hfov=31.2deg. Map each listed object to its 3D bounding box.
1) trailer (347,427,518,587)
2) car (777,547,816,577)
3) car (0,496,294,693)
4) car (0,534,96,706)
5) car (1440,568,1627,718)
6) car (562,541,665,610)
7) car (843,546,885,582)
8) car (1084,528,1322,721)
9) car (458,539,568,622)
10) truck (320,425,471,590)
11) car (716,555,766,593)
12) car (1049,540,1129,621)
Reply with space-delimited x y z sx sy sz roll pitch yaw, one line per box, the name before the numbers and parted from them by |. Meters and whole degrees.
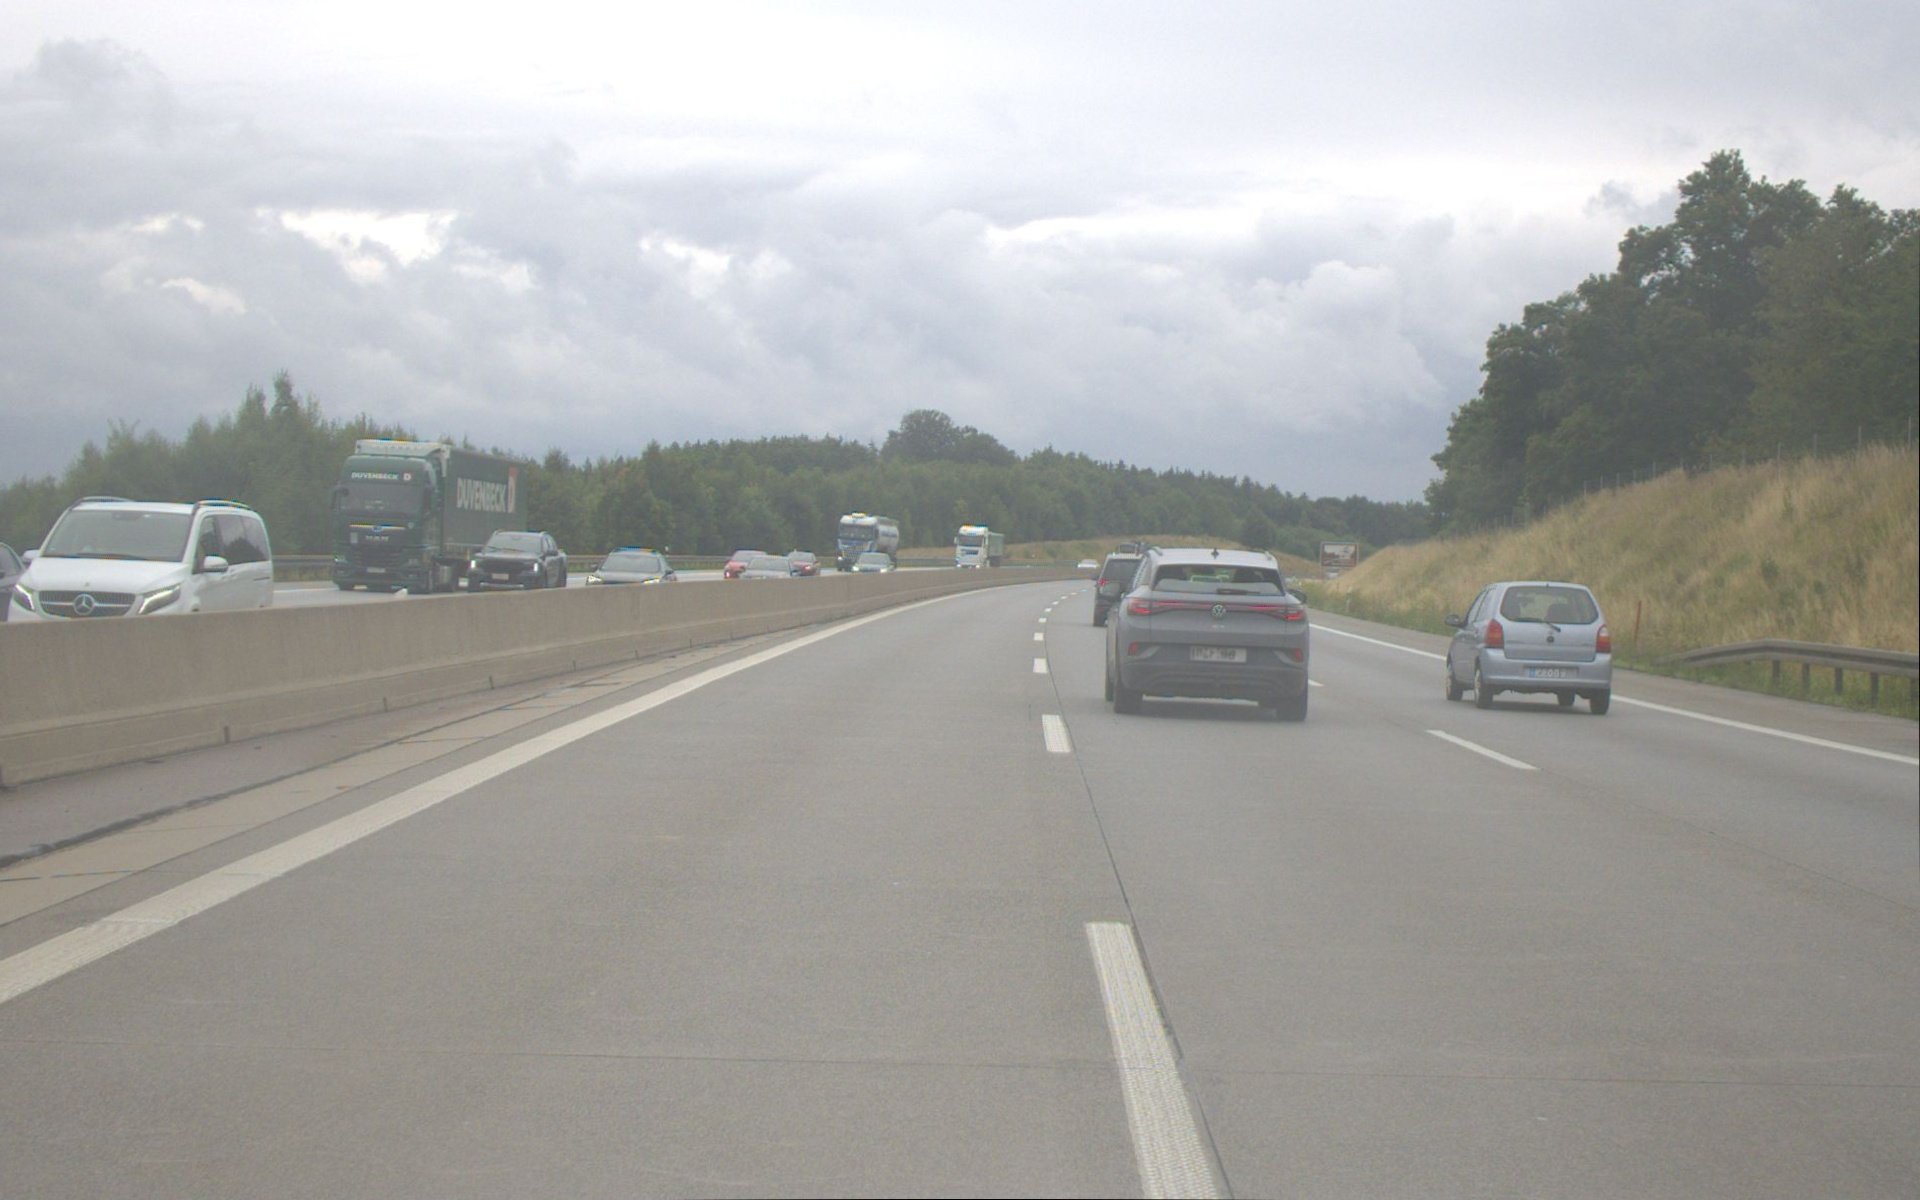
trailer | -15.369 -2.771 101.129 2.765 4.267 12.169 3 2 1
car | -8.030 -1.852 168.857 1.518 1.388 4.487 3 1 2
car | -8.998 -0.145 38.320 1.914 2.006 5.924 0 2 1
car | -12.519 0.232 42.893 1.914 2.006 5.924 0 2 1
car | 6.436 0.450 38.874 1.485 1.465 3.505 2 2 0
car | -8.144 -0.600 81.100 1.993 1.514 4.398 0 2 0
car | -4.592 -1.731 165.280 1.722 1.582 4.972 1 2 2
car | 2.319 0.170 34.128 1.898 1.684 5.267 0 2 -1
car | -11.380 -0.539 87.871 1.993 1.967 5.331 0 2 1
truck | -15.527 -2.567 94.942 2.789 4.248 6.049 3 2 2
car | -9.368 -1.095 147.543 1.718 1.503 4.486 1 0 2
car | 2.955 -0.469 78.572 1.785 1.741 3.915 0 2 2
